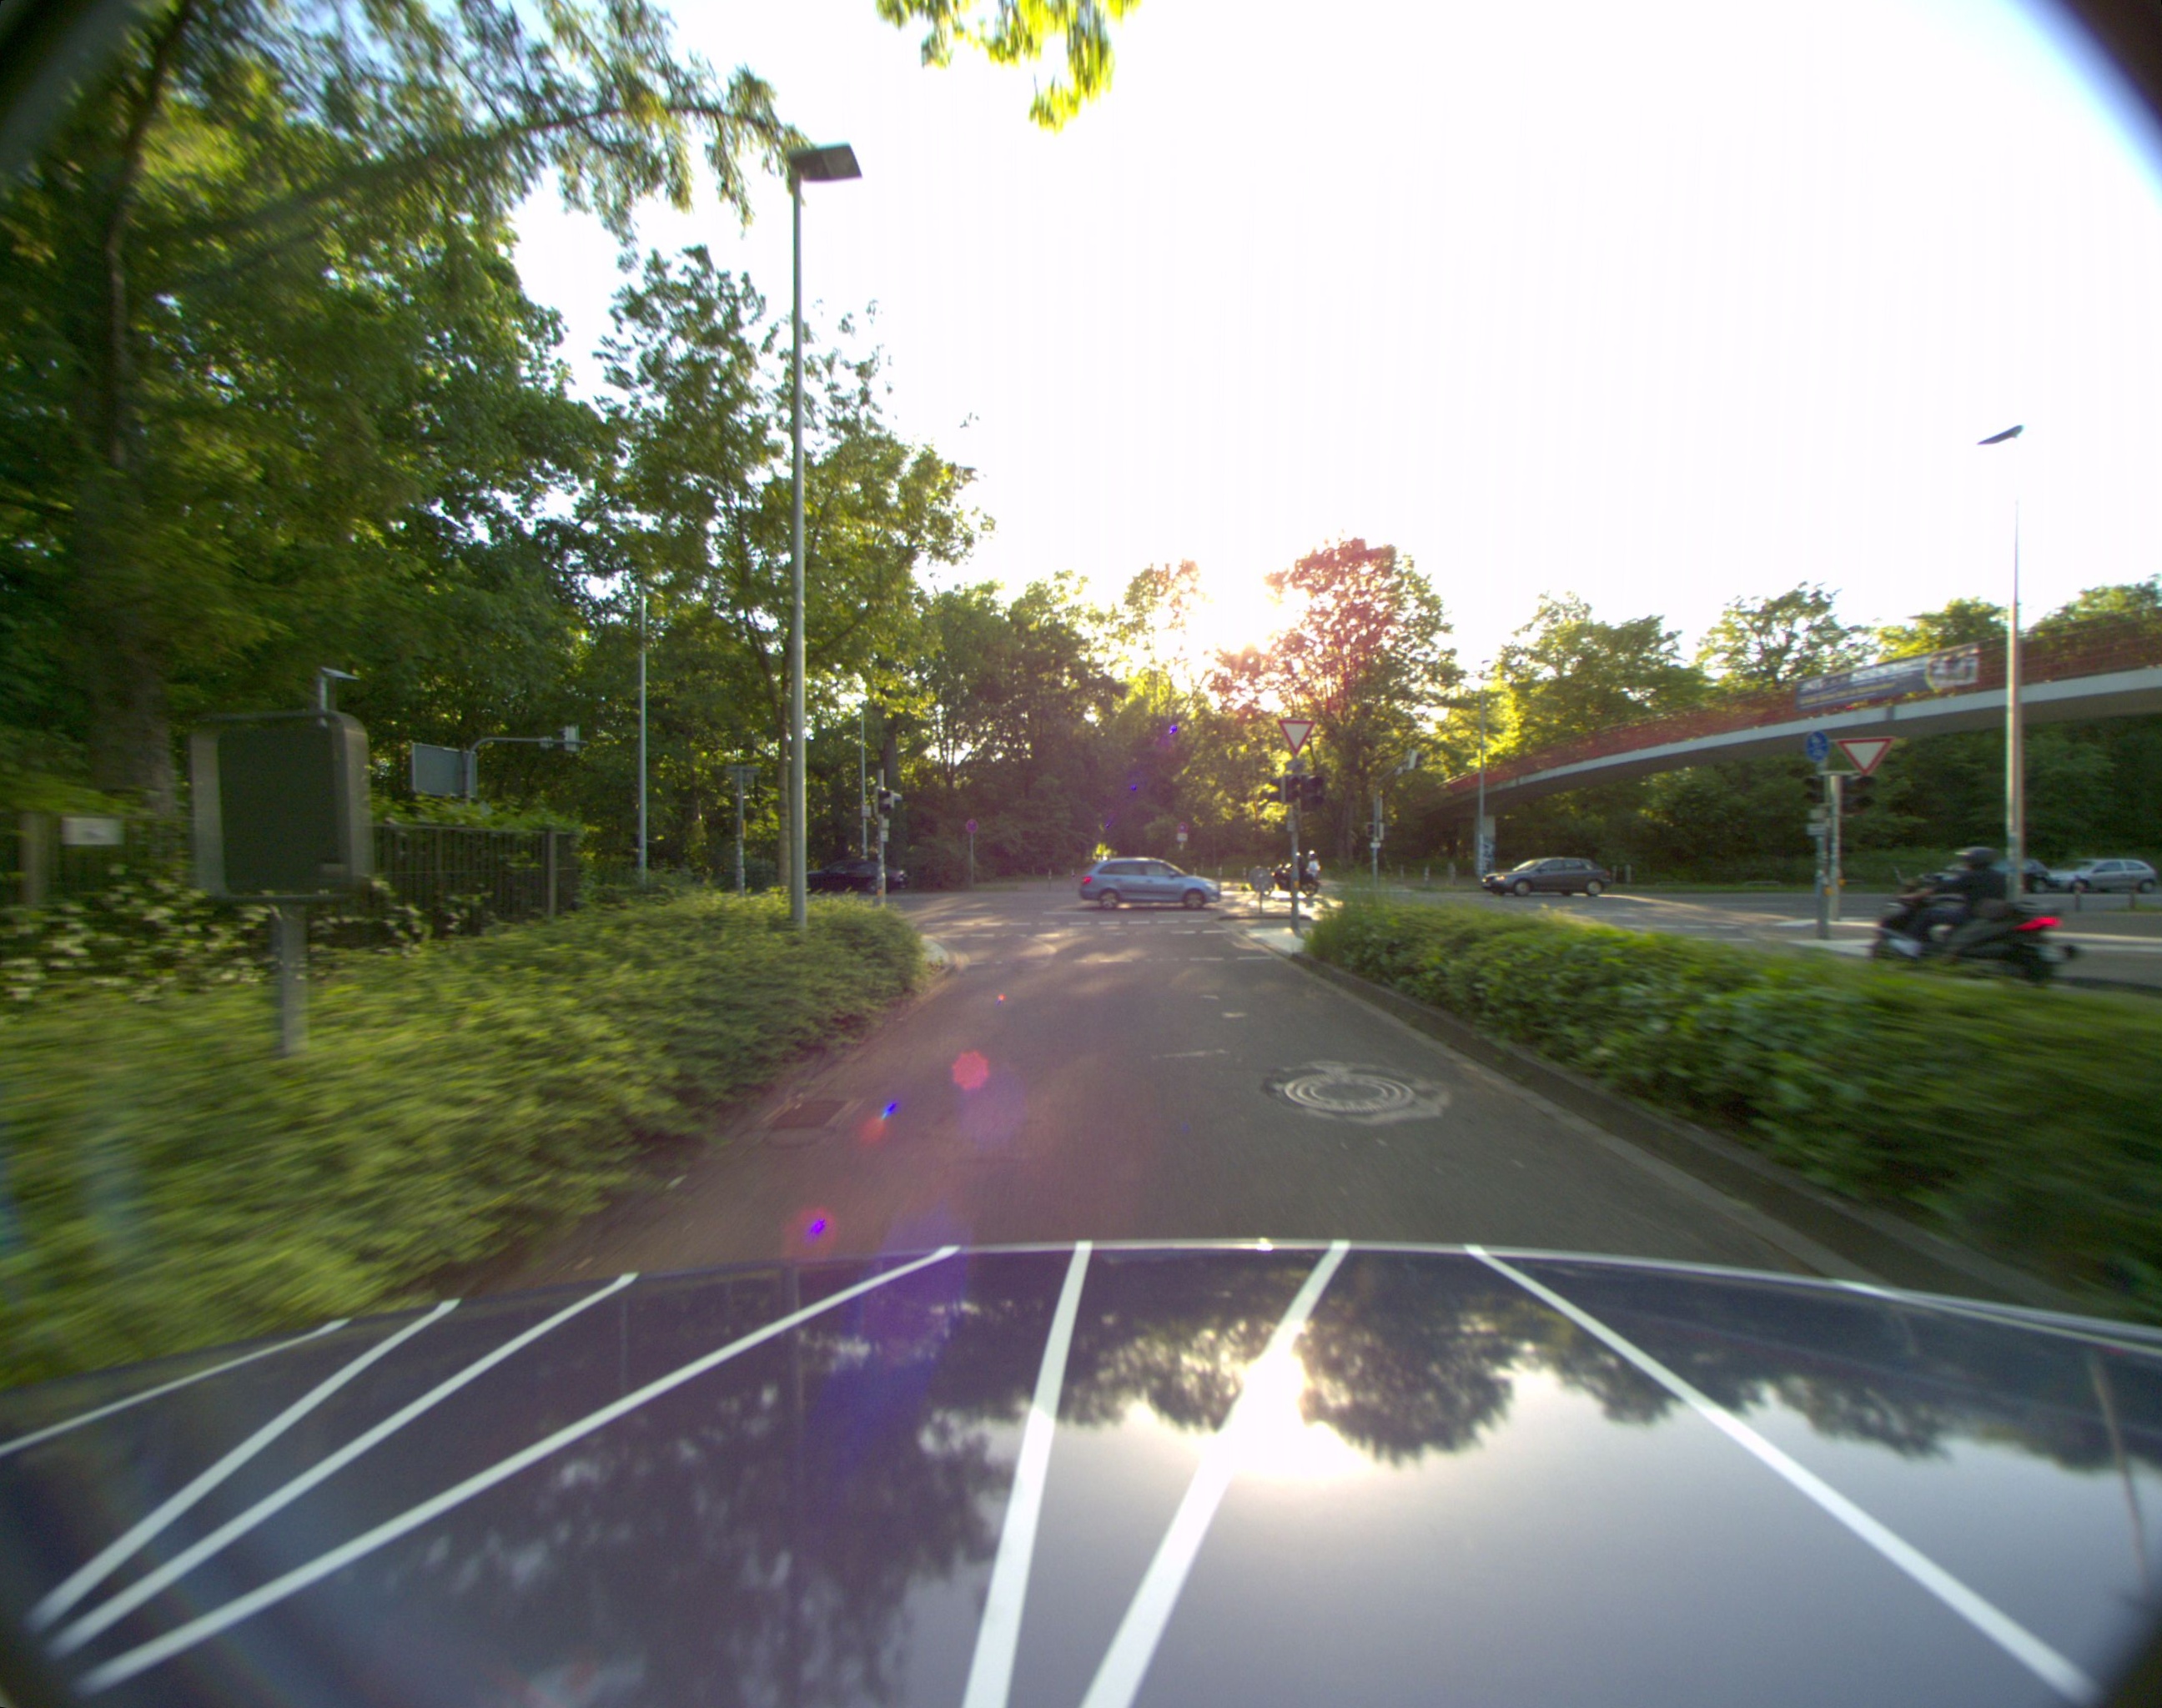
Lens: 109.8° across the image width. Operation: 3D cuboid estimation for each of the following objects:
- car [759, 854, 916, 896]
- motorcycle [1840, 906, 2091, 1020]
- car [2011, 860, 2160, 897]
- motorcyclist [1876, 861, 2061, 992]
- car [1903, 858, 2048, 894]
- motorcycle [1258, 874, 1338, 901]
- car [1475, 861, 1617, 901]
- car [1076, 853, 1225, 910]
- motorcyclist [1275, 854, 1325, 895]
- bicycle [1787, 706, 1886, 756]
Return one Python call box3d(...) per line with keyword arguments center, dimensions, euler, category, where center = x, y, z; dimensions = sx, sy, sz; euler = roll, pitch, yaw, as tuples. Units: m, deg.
box3d(center=(-10.029, 0.858, 31.619), dimensions=(5.884, 1.625, 1.999), euler=(-1, 0, -3), category="car")
box3d(center=(10.534, 1.231, 9.214), dimensions=(0.524, 1.062, 2.288), euler=(0, 0, 5), category="motorcycle")
box3d(center=(42.997, 1.049, 32.588), dimensions=(3.972, 1.499, 1.722), euler=(0, 1, 2), category="car")
box3d(center=(10.507, 0.815, 9.054), dimensions=(0.950, 1.462, 1.070), euler=(0, 0, 5), category="motorcyclist")
box3d(center=(38.384, 0.923, 32.667), dimensions=(4.122, 1.499, 1.696), euler=(0, 0, 2), category="car")
box3d(center=(7.902, 1.211, 27.724), dimensions=(2.709, 0.907, 0.808), euler=(0, 1, 7), category="motorcycle")
box3d(center=(16.727, 0.946, 27.507), dimensions=(3.995, 1.381, 1.870), euler=(0, 0, 6), category="car")
box3d(center=(2.044, 0.800, 22.882), dimensions=(4.315, 1.571, 1.812), euler=(0, 2, 2), category="car")
box3d(center=(7.943, 0.770, 27.678), dimensions=(1.564, 1.418, 1.140), euler=(-2, -3, 8), category="motorcyclist")
box3d(center=(25.773, -4.180, 26.002), dimensions=(1.050, 1.365, 2.448), euler=(-1, 2, 5), category="bicycle")
